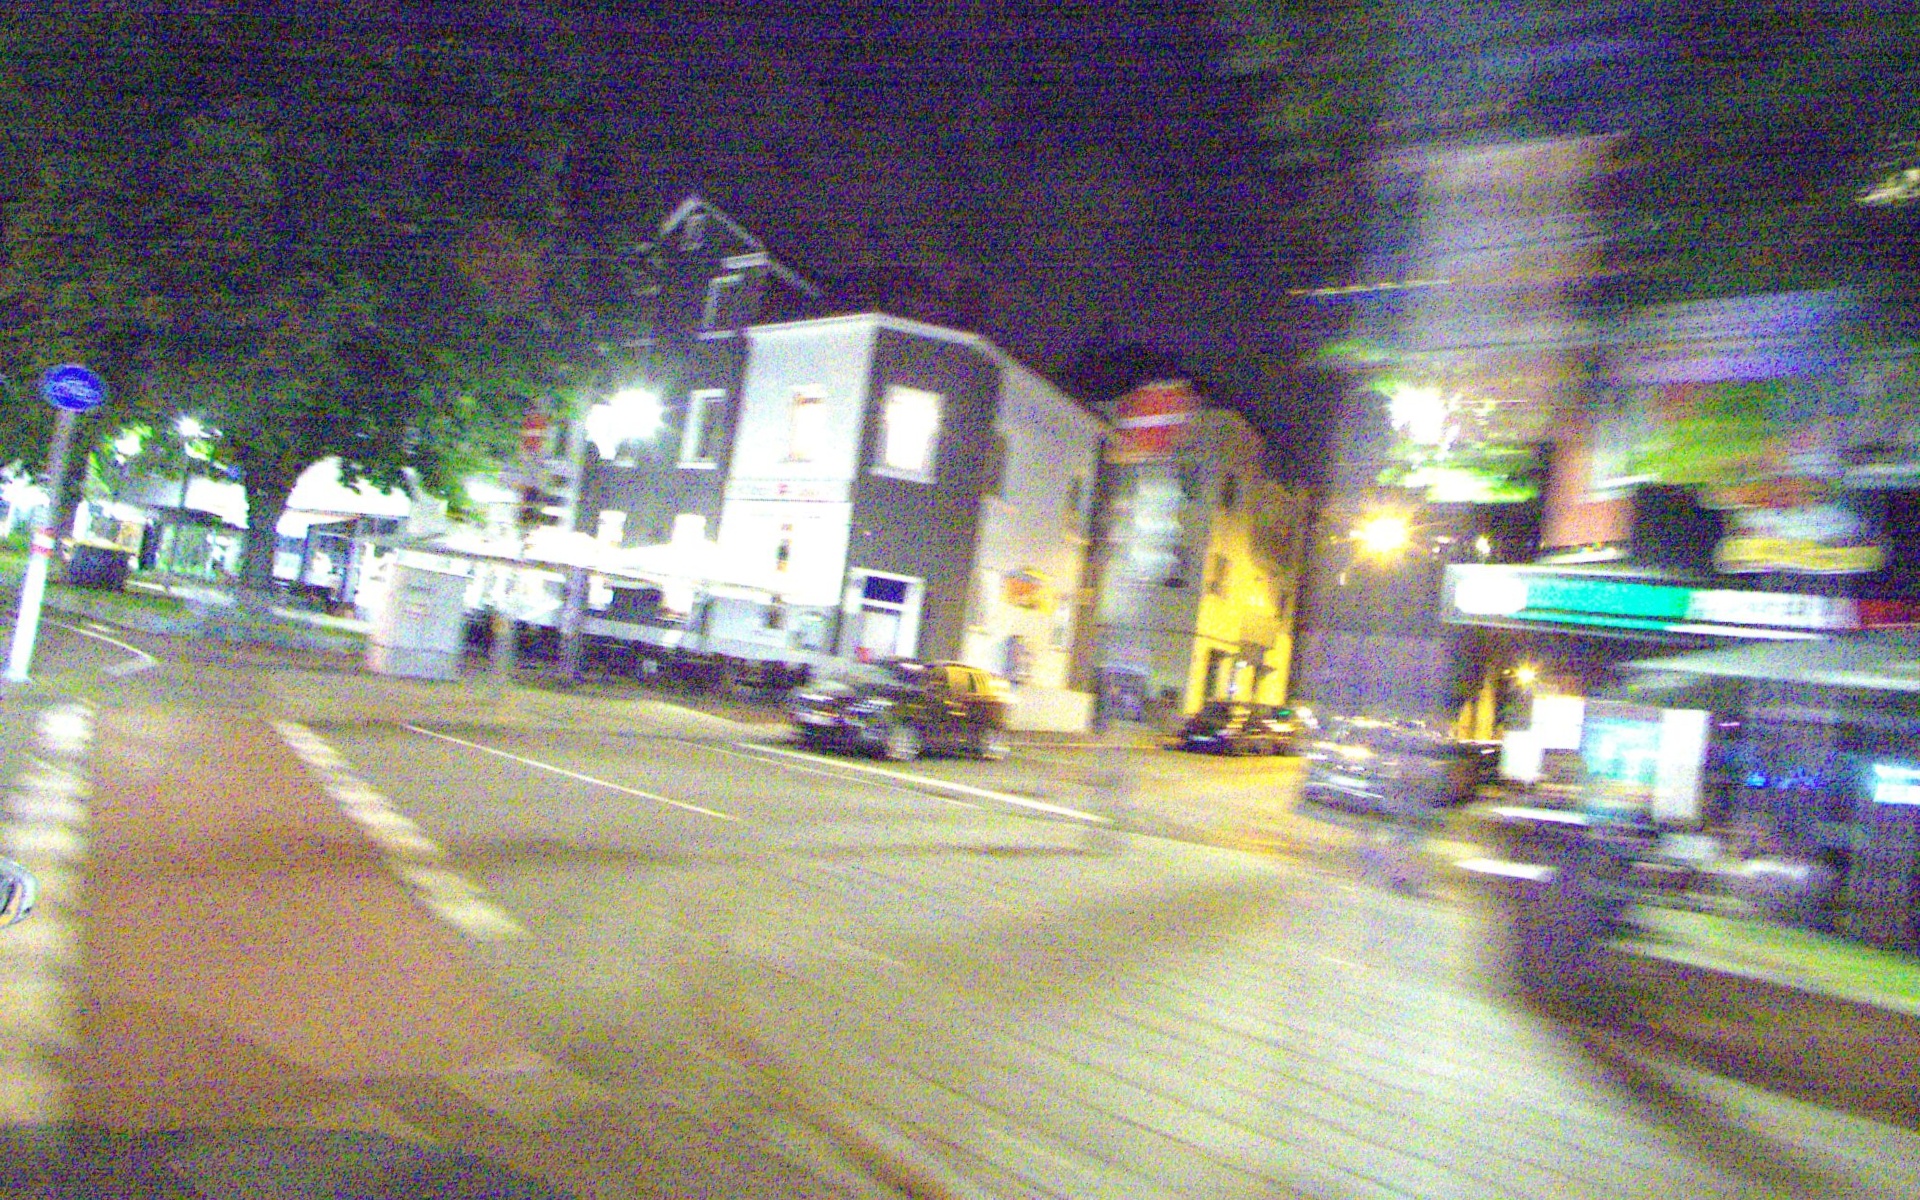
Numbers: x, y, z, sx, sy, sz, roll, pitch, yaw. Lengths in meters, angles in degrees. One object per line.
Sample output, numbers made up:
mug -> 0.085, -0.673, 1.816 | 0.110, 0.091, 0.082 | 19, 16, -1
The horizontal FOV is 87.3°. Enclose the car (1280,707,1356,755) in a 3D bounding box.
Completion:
car -> 13.917, 5.118, 38.953 | 1.775, 1.566, 4.153 | 3, -6, 33

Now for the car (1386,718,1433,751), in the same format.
car -> 25.459, 7.632, 56.924 | 1.775, 1.566, 4.153 | 3, -6, 33

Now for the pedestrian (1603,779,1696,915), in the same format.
pedestrian -> 7.154, 2.553, 10.438 | 0.497, 1.277, 0.526 | 9, -3, -28

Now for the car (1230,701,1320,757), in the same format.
car -> 10.684, 4.384, 33.922 | 1.775, 1.566, 4.153 | 3, -6, 33

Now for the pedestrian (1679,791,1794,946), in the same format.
pedestrian -> 7.207, 2.485, 9.340 | 0.677, 1.277, 0.526 | 9, -3, -28

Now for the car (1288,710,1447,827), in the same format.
car -> 7.496, 2.993, 18.277 | 1.774, 1.567, 4.152 | 8, -2, 33

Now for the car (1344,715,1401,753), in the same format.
car -> 19.982, 6.509, 48.640 | 1.775, 1.566, 4.153 | 3, -6, 33

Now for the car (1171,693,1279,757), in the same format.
car -> 7.837, 3.693, 29.506 | 1.775, 1.566, 4.153 | 3, -6, 33

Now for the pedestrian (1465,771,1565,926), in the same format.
pedestrian -> 4.745, 2.111, 8.612 | 0.385, 1.181, 0.516 | 9, -3, -20

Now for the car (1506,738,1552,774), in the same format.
car -> 31.039, 8.470, 54.794 | 1.774, 1.567, 4.152 | 8, -2, 33

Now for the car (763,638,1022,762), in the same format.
car -> -0.901, 1.659, 16.034 | 1.774, 1.547, 4.326 | 5, -5, 33

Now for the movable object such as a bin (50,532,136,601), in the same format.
movable object such as a bin -> -20.778, -0.800, 24.118 | 0.977, 1.385, 1.164 | 6, -4, 33

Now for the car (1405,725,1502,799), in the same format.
car -> 13.746, 4.447, 27.902 | 1.774, 1.567, 4.152 | 8, -2, 33

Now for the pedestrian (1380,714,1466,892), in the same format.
pedestrian -> 4.456, 1.947, 9.691 | 0.475, 1.604, 0.370 | 9, -3, -20

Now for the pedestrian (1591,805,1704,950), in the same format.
pedestrian -> 5.723, 2.302, 8.384 | 0.523, 1.064, 0.499 | 9, -3, -26

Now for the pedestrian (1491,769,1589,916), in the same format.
pedestrian -> 5.557, 2.316, 9.648 | 0.523, 1.277, 0.499 | 9, -3, -26

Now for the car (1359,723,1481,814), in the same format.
car -> 10.555, 3.771, 22.913 | 1.774, 1.567, 4.152 | 8, -2, 33

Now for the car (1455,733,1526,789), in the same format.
car -> 19.194, 5.769, 36.324 | 1.774, 1.567, 4.152 | 8, -2, 33
